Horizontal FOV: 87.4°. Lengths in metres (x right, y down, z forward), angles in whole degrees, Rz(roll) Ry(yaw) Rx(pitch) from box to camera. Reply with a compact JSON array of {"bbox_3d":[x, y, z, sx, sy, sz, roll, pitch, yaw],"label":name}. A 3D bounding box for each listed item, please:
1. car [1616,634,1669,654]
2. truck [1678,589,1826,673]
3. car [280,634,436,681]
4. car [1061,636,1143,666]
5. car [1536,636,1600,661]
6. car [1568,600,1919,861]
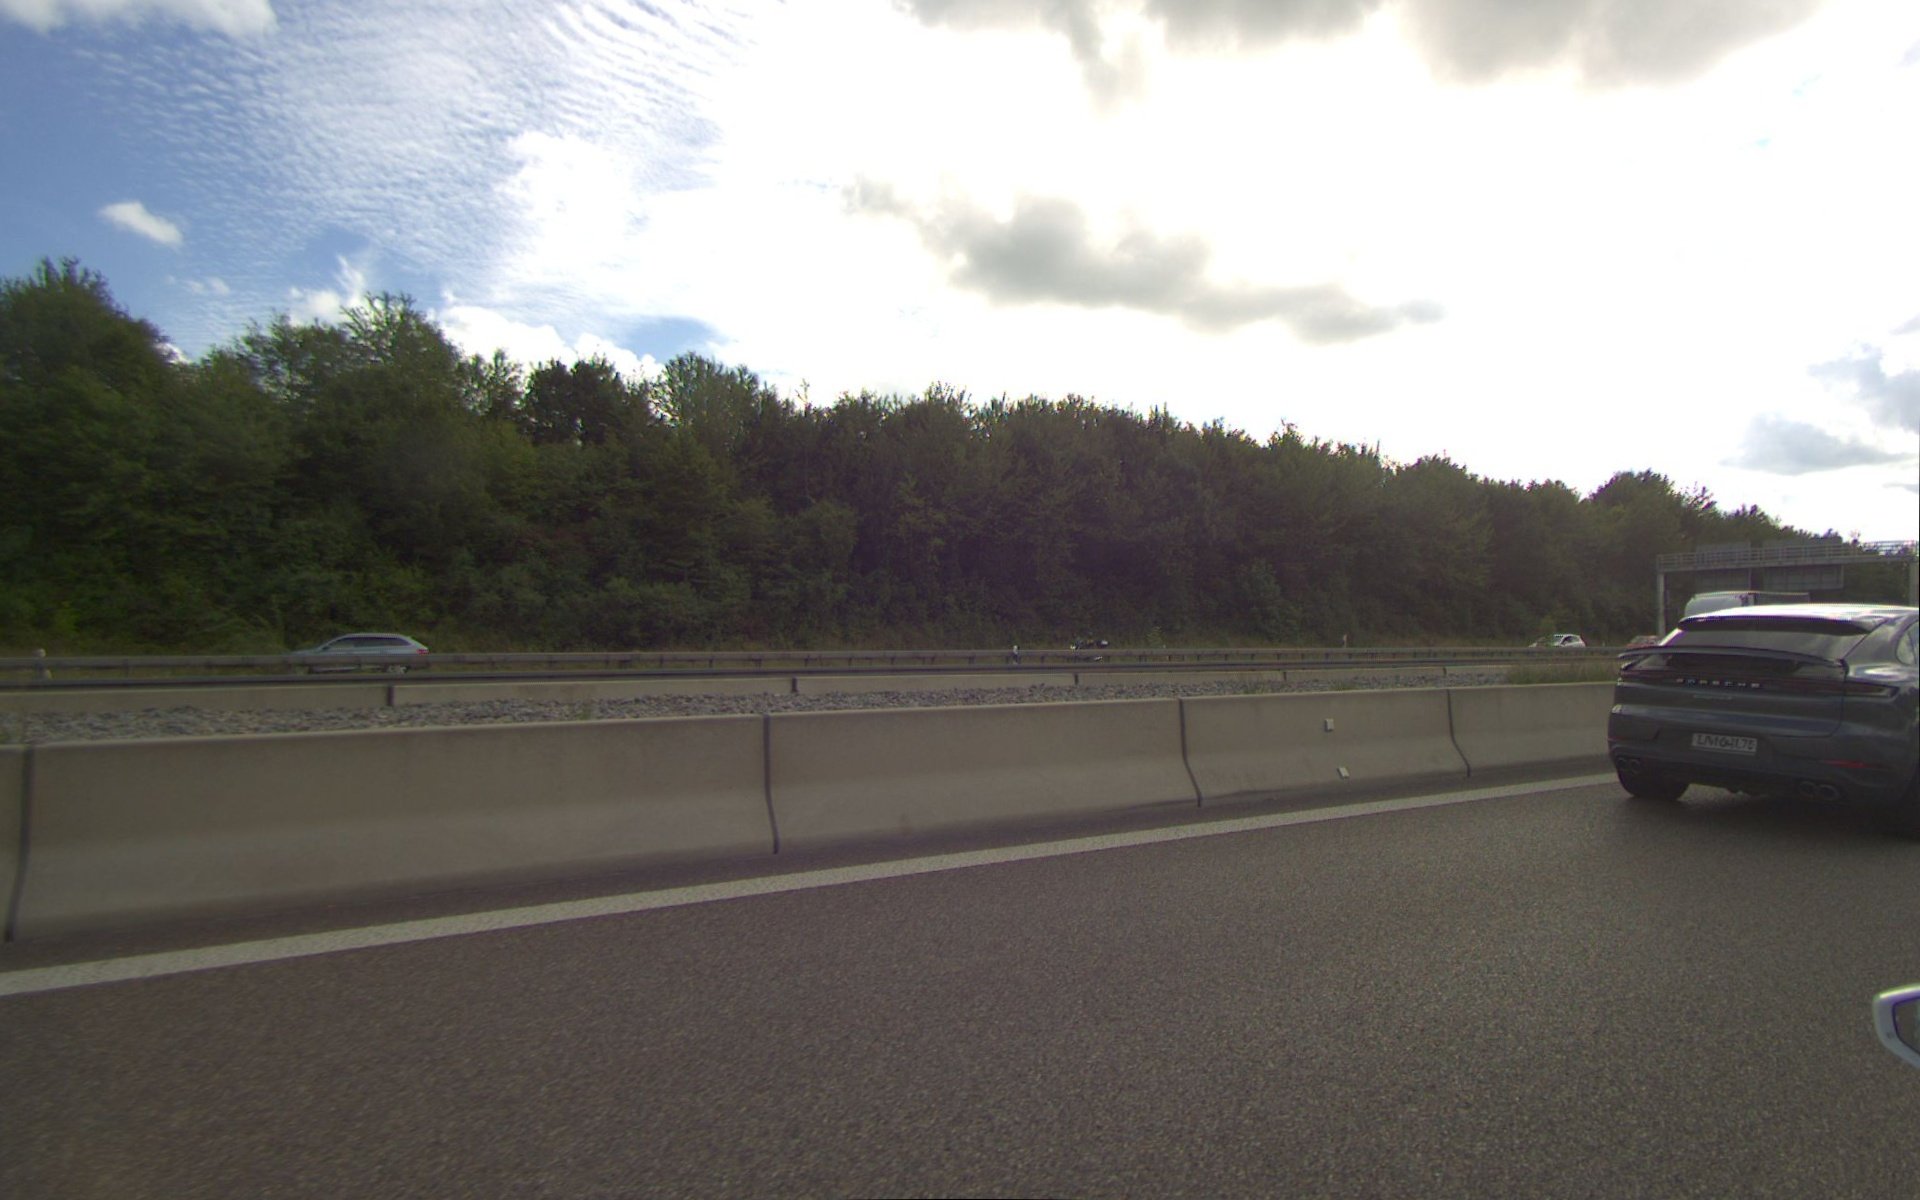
[{"bbox_3d":[48.309,3.110,71.067,4.005,1.383,1.556,1,-2,-31],"label":"car"},{"bbox_3d":[33.604,1.307,42.523,7.735,3.307,2.342,1,-2,-31],"label":"truck"},{"bbox_3d":[-20.498,1.940,34.381,4.458,1.514,1.584,1,-2,-31],"label":"car"},{"bbox_3d":[7.380,2.624,52.072,4.133,1.514,1.584,1,-2,-31],"label":"car"},{"bbox_3d":[35.368,2.794,58.420,4.005,1.383,1.556,1,-2,-31],"label":"car"},{"bbox_3d":[7.683,0.889,8.605,5.436,1.658,1.903,1,-1,-31],"label":"car"}]
